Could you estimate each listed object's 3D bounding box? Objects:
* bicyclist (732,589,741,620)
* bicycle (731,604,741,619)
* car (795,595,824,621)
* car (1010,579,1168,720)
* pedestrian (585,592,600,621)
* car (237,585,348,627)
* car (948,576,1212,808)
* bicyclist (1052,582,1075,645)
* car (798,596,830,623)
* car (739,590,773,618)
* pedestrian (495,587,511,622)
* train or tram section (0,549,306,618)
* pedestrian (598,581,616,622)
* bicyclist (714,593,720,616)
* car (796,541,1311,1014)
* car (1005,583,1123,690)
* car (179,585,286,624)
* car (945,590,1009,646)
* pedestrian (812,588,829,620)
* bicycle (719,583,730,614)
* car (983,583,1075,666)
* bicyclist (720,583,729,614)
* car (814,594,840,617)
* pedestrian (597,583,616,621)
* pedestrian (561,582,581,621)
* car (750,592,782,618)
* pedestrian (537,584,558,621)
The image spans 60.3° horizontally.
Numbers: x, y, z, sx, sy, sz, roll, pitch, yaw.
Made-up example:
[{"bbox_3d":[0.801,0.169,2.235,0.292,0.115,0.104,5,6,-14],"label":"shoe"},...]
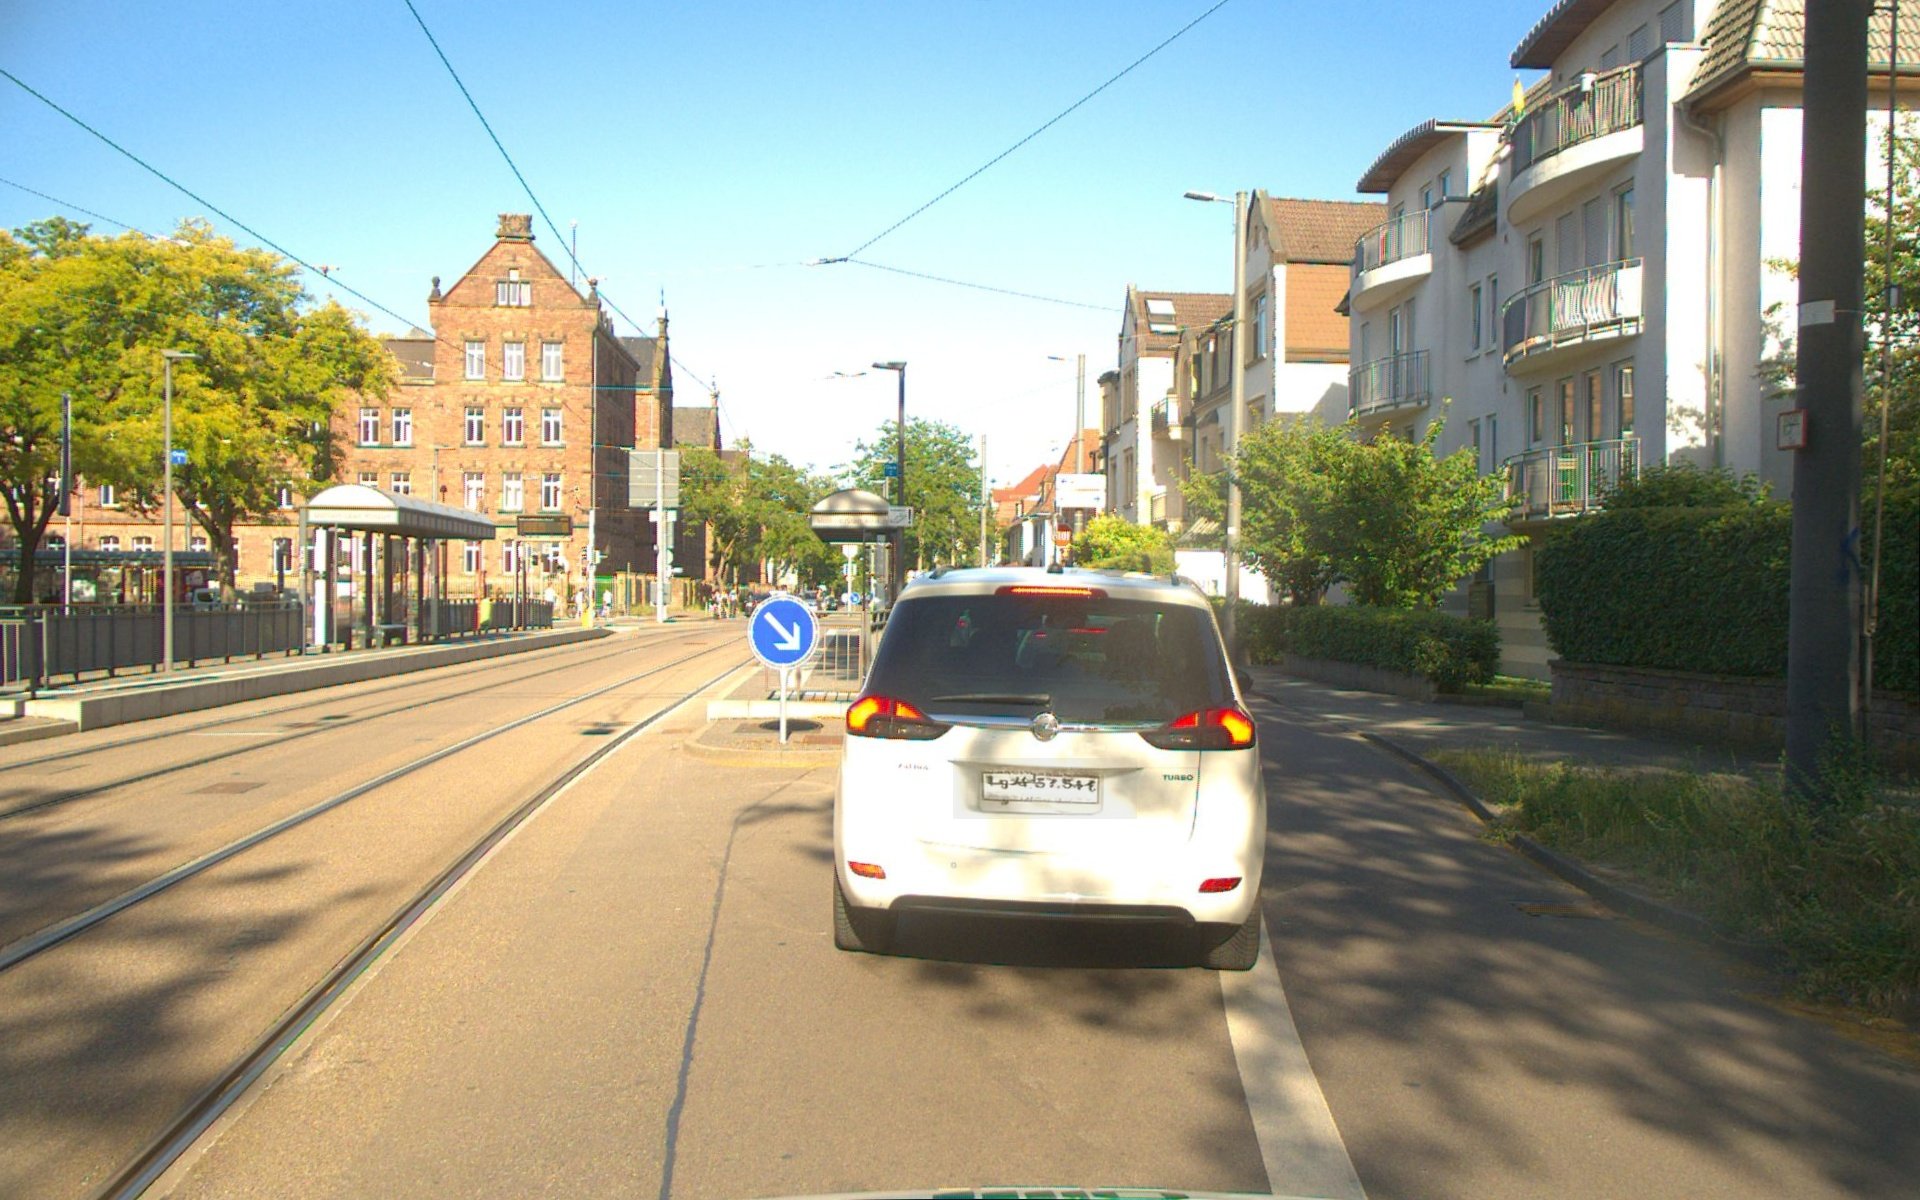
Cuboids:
[{"bbox_3d":[-15.045,0.322,111.352,0.478,2.049,0.502,1,-1,-1],"label":"bicyclist"},{"bbox_3d":[-15.054,0.755,111.382,0.477,0.988,1.405,1,0,-1],"label":"bicycle"},{"bbox_3d":[-10.461,0.588,115.043,1.711,1.746,3.999,1,0,-1],"label":"car"},{"bbox_3d":[1.749,0.579,21.623,1.866,1.653,4.003,0,0,6],"label":"car"},{"bbox_3d":[-21.114,0.364,94.992,0.640,1.640,0.711,1,-1,1],"label":"pedestrian"},{"bbox_3d":[-28.111,0.264,69.747,3.908,1.658,1.817,1,0,-4],"label":"car"},{"bbox_3d":[1.067,0.642,13.773,1.866,1.625,4.003,0,0,6],"label":"car"},{"bbox_3d":[2.868,0.373,45.772,0.603,1.716,0.779,0,0,3],"label":"bicyclist"},{"bbox_3d":[-9.444,0.611,107.201,1.711,1.746,3.999,1,0,-1],"label":"car"},{"bbox_3d":[-13.152,0.290,106.833,1.711,1.746,3.999,1,0,-1],"label":"car"},{"bbox_3d":[-24.111,0.244,87.310,0.754,1.805,0.717,1,-1,-18],"label":"pedestrian"},{"bbox_3d":[-40.744,-0.763,79.424,17.048,3.210,3.343,0,0,-6],"label":"train or tram section"},{"bbox_3d":[-18.077,0.083,84.692,0.782,2.049,0.717,1,-1,-18],"label":"pedestrian"},{"bbox_3d":[-15.097,0.283,102.799,0.307,1.469,0.384,0,0,-1],"label":"bicyclist"},{"bbox_3d":[0.548,0.626,8.020,1.866,1.690,4.003,0,0,6],"label":"car"},{"bbox_3d":[1.789,0.571,28.285,1.867,1.690,4.002,0,0,4],"label":"car"},{"bbox_3d":[-32.442,0.218,73.821,3.908,1.658,1.817,1,0,-4],"label":"car"},{"bbox_3d":[0.506,0.548,53.080,1.869,1.690,3.998,0,0,-2],"label":"car"},{"bbox_3d":[-8.308,0.233,98.399,0.731,1.934,0.805,1,-1,-23],"label":"pedestrian"},{"bbox_3d":[-15.467,-0.088,108.630,0.477,2.049,1.405,0,0,-1],"label":"bicycle"},{"bbox_3d":[1.447,0.497,36.118,1.868,1.690,4.000,0,0,0],"label":"car"},{"bbox_3d":[-15.469,-0.088,108.626,0.488,2.049,0.572,0,0,-1],"label":"bicyclist"},{"bbox_3d":[-10.346,0.432,128.899,1.711,1.746,3.999,1,0,-1],"label":"car"},{"bbox_3d":[-19.003,0.113,88.994,0.786,2.049,0.713,1,-1,-30],"label":"pedestrian"},{"bbox_3d":[-20.704,0.079,88.023,0.788,2.049,0.712,1,-1,-34],"label":"pedestrian"},{"bbox_3d":[-13.298,0.348,113.498,1.711,1.746,3.999,1,0,-1],"label":"car"},{"bbox_3d":[-22.103,0.137,88.666,0.791,1.934,0.744,1,-1,13],"label":"pedestrian"}]
